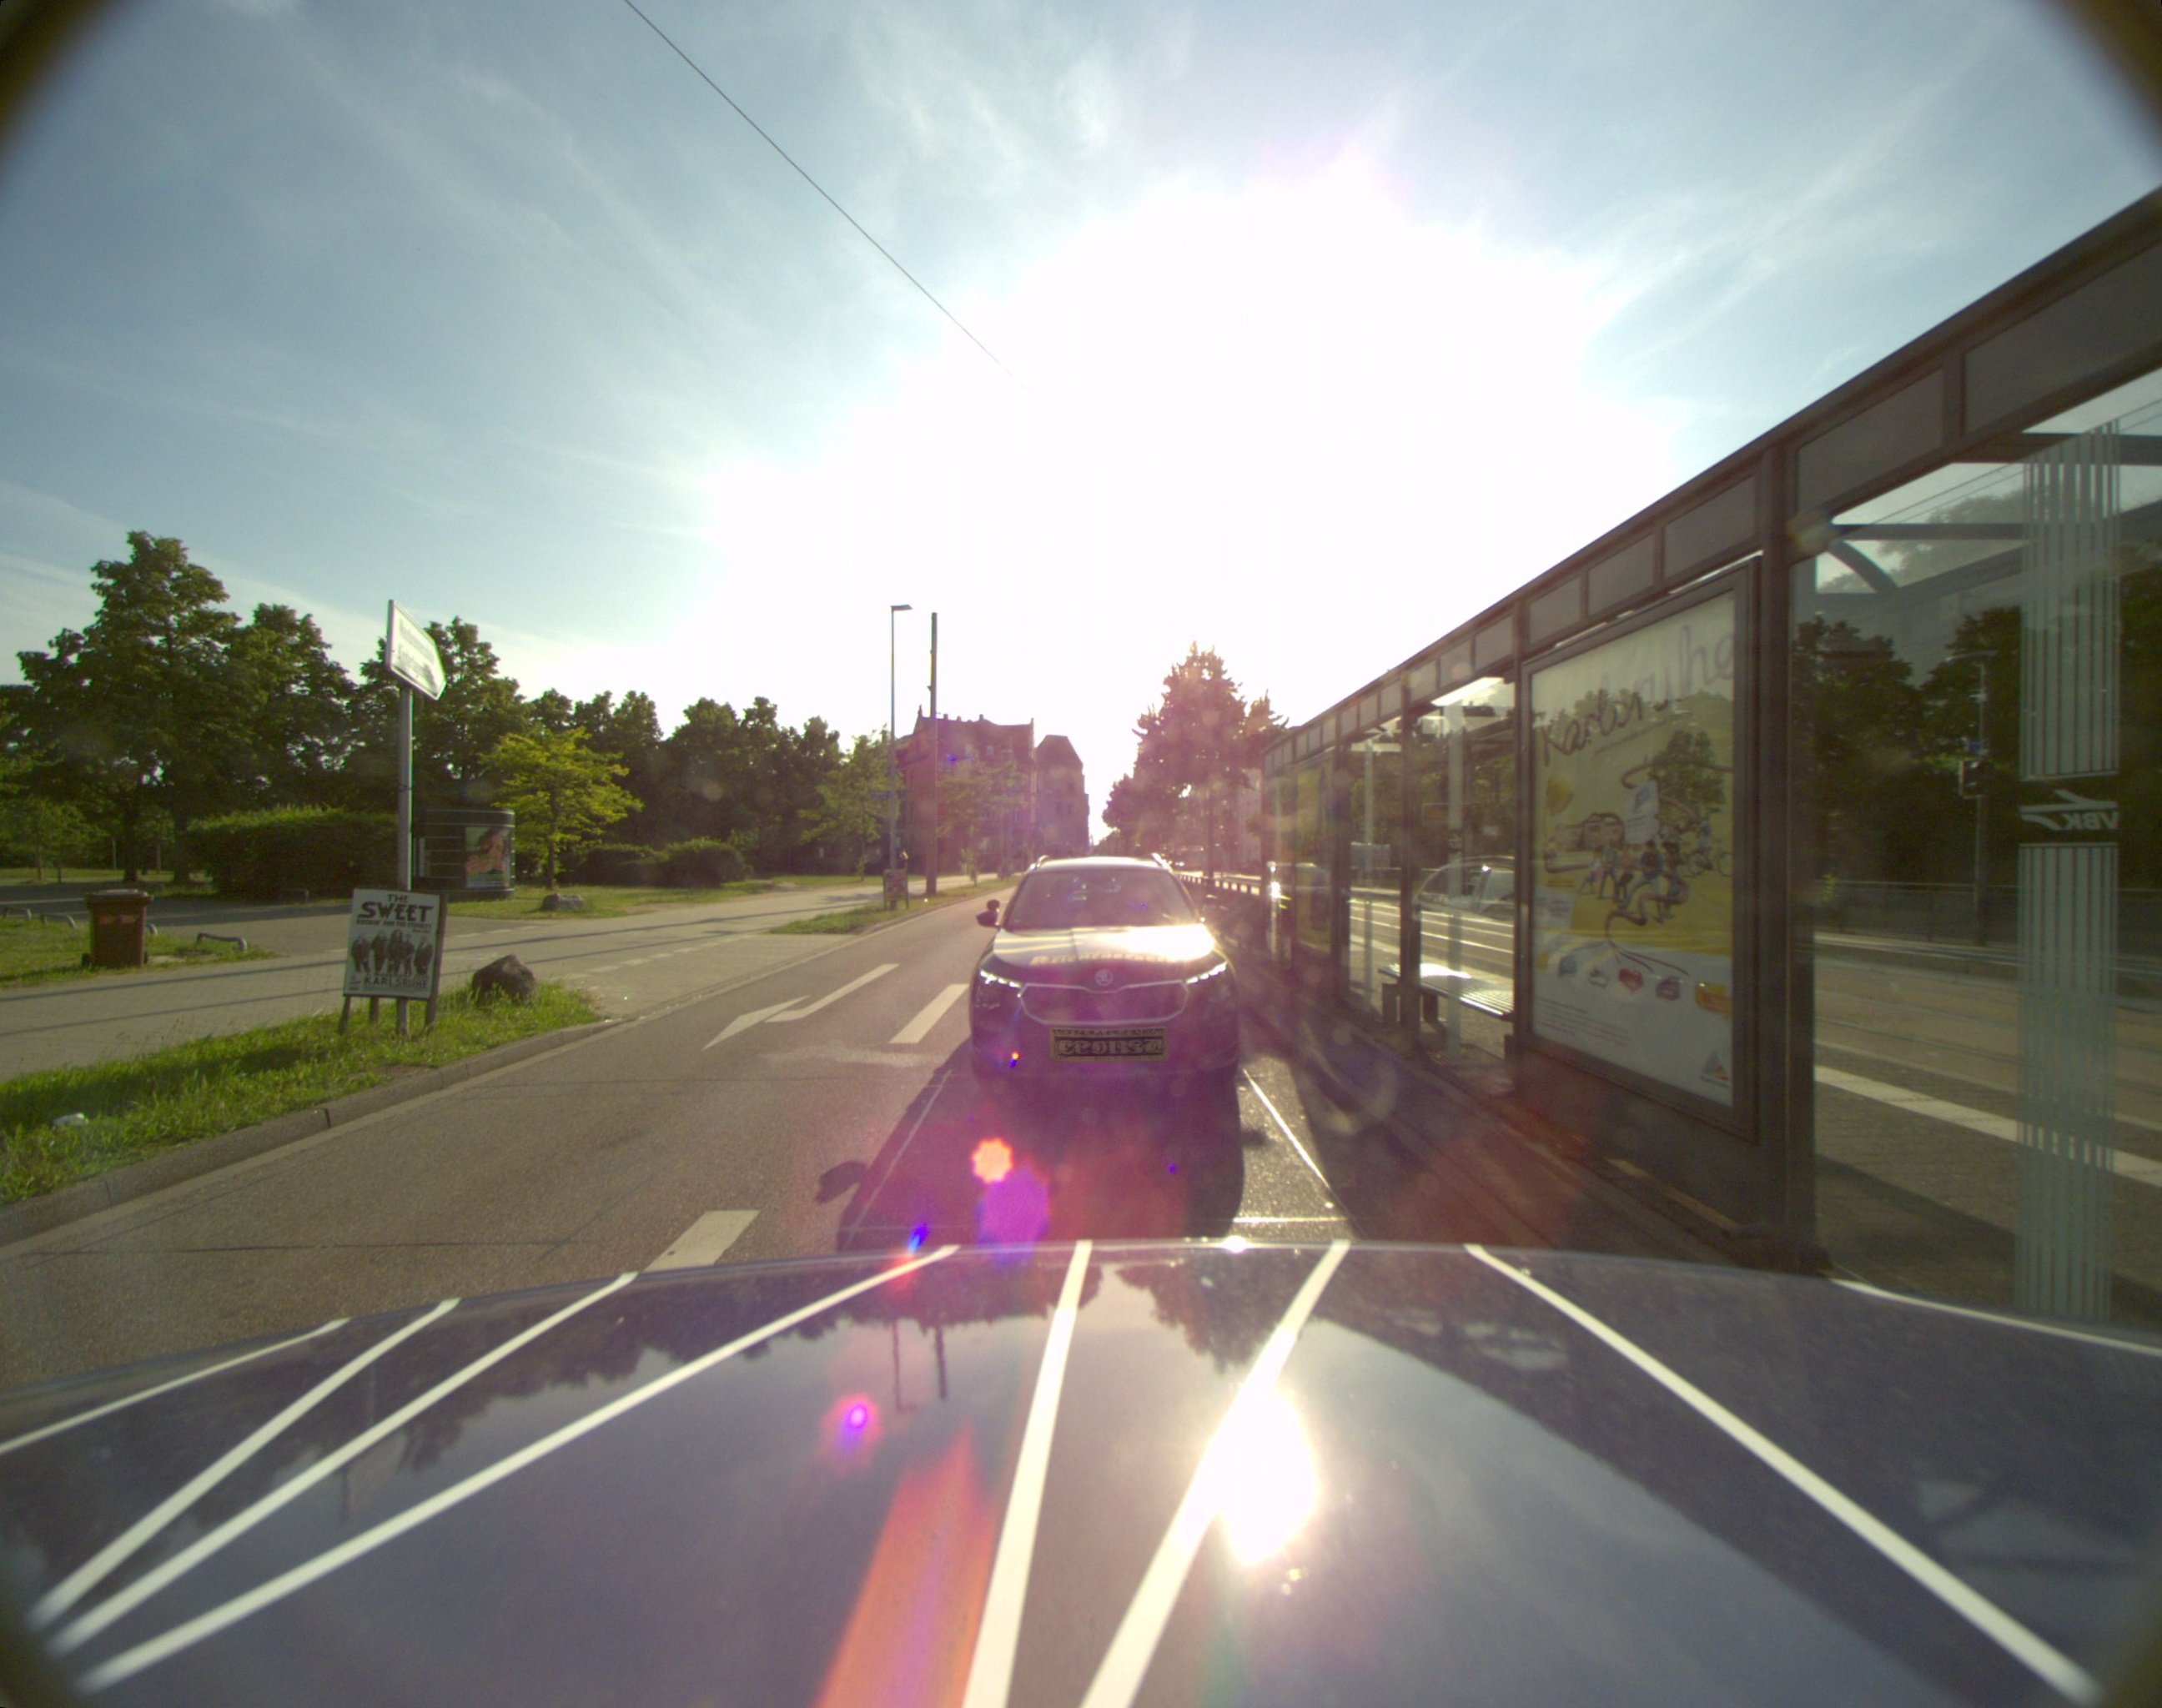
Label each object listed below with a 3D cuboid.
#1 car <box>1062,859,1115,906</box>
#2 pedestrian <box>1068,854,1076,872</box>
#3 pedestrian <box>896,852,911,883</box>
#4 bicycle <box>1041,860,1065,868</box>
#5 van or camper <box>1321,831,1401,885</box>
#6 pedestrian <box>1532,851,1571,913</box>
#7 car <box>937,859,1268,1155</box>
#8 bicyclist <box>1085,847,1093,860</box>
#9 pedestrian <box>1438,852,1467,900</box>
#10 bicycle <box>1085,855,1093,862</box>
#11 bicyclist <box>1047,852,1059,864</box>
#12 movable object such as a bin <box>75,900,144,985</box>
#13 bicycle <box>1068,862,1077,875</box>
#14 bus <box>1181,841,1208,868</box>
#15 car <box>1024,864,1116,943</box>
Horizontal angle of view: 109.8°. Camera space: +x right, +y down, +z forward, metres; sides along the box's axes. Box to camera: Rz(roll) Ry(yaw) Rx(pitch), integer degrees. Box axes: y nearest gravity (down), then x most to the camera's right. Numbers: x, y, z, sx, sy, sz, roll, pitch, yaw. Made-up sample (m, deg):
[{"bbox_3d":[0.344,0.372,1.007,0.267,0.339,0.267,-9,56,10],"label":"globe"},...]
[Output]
[{"bbox_3d":[0.271,0.981,27.795,1.756,1.534,4.235,-1,0,1],"label":"car"},{"bbox_3d":[-0.757,0.737,65.688,0.637,1.512,0.844,-2,1,-3],"label":"pedestrian"},{"bbox_3d":[-9.680,0.730,41.418,0.621,1.675,0.618,-2,1,1],"label":"pedestrian"},{"bbox_3d":[-3.493,1.213,95.718,2.962,0.974,0.879,0,0,-2],"label":"bicycle"},{"bbox_3d":[16.989,0.194,46.554,2.527,2.951,6.410,-2,1,1],"label":"van or camper"},{"bbox_3d":[13.146,0.784,21.238,0.621,1.675,0.618,3,1,1],"label":"pedestrian"},{"bbox_3d":[0.146,0.847,6.229,1.756,1.534,4.235,-1,0,1],"label":"car"},{"bbox_3d":[0.895,-0.041,87.848,0.688,1.445,1.112,0,0,12],"label":"bicyclist"},{"bbox_3d":[13.332,0.782,27.265,0.621,1.675,0.618,3,1,1],"label":"pedestrian"},{"bbox_3d":[0.928,0.542,87.874,0.566,0.789,2.043,0,0,12],"label":"bicycle"},{"bbox_3d":[-3.530,0.504,95.708,1.402,1.538,0.888,0,0,-2],"label":"bicyclist"},{"bbox_3d":[-11.435,1.024,8.956,0.603,0.912,0.457,1,1,42],"label":"movable object such as a bin"},{"bbox_3d":[-0.715,1.281,65.663,0.652,1.040,1.979,-2,1,-3],"label":"bicycle"},{"bbox_3d":[15.507,0.007,104.303,2.437,3.415,9.261,-2,1,1],"label":"bus"},{"bbox_3d":[-0.176,0.987,16.847,1.756,1.451,4.235,-1,0,1],"label":"car"}]
